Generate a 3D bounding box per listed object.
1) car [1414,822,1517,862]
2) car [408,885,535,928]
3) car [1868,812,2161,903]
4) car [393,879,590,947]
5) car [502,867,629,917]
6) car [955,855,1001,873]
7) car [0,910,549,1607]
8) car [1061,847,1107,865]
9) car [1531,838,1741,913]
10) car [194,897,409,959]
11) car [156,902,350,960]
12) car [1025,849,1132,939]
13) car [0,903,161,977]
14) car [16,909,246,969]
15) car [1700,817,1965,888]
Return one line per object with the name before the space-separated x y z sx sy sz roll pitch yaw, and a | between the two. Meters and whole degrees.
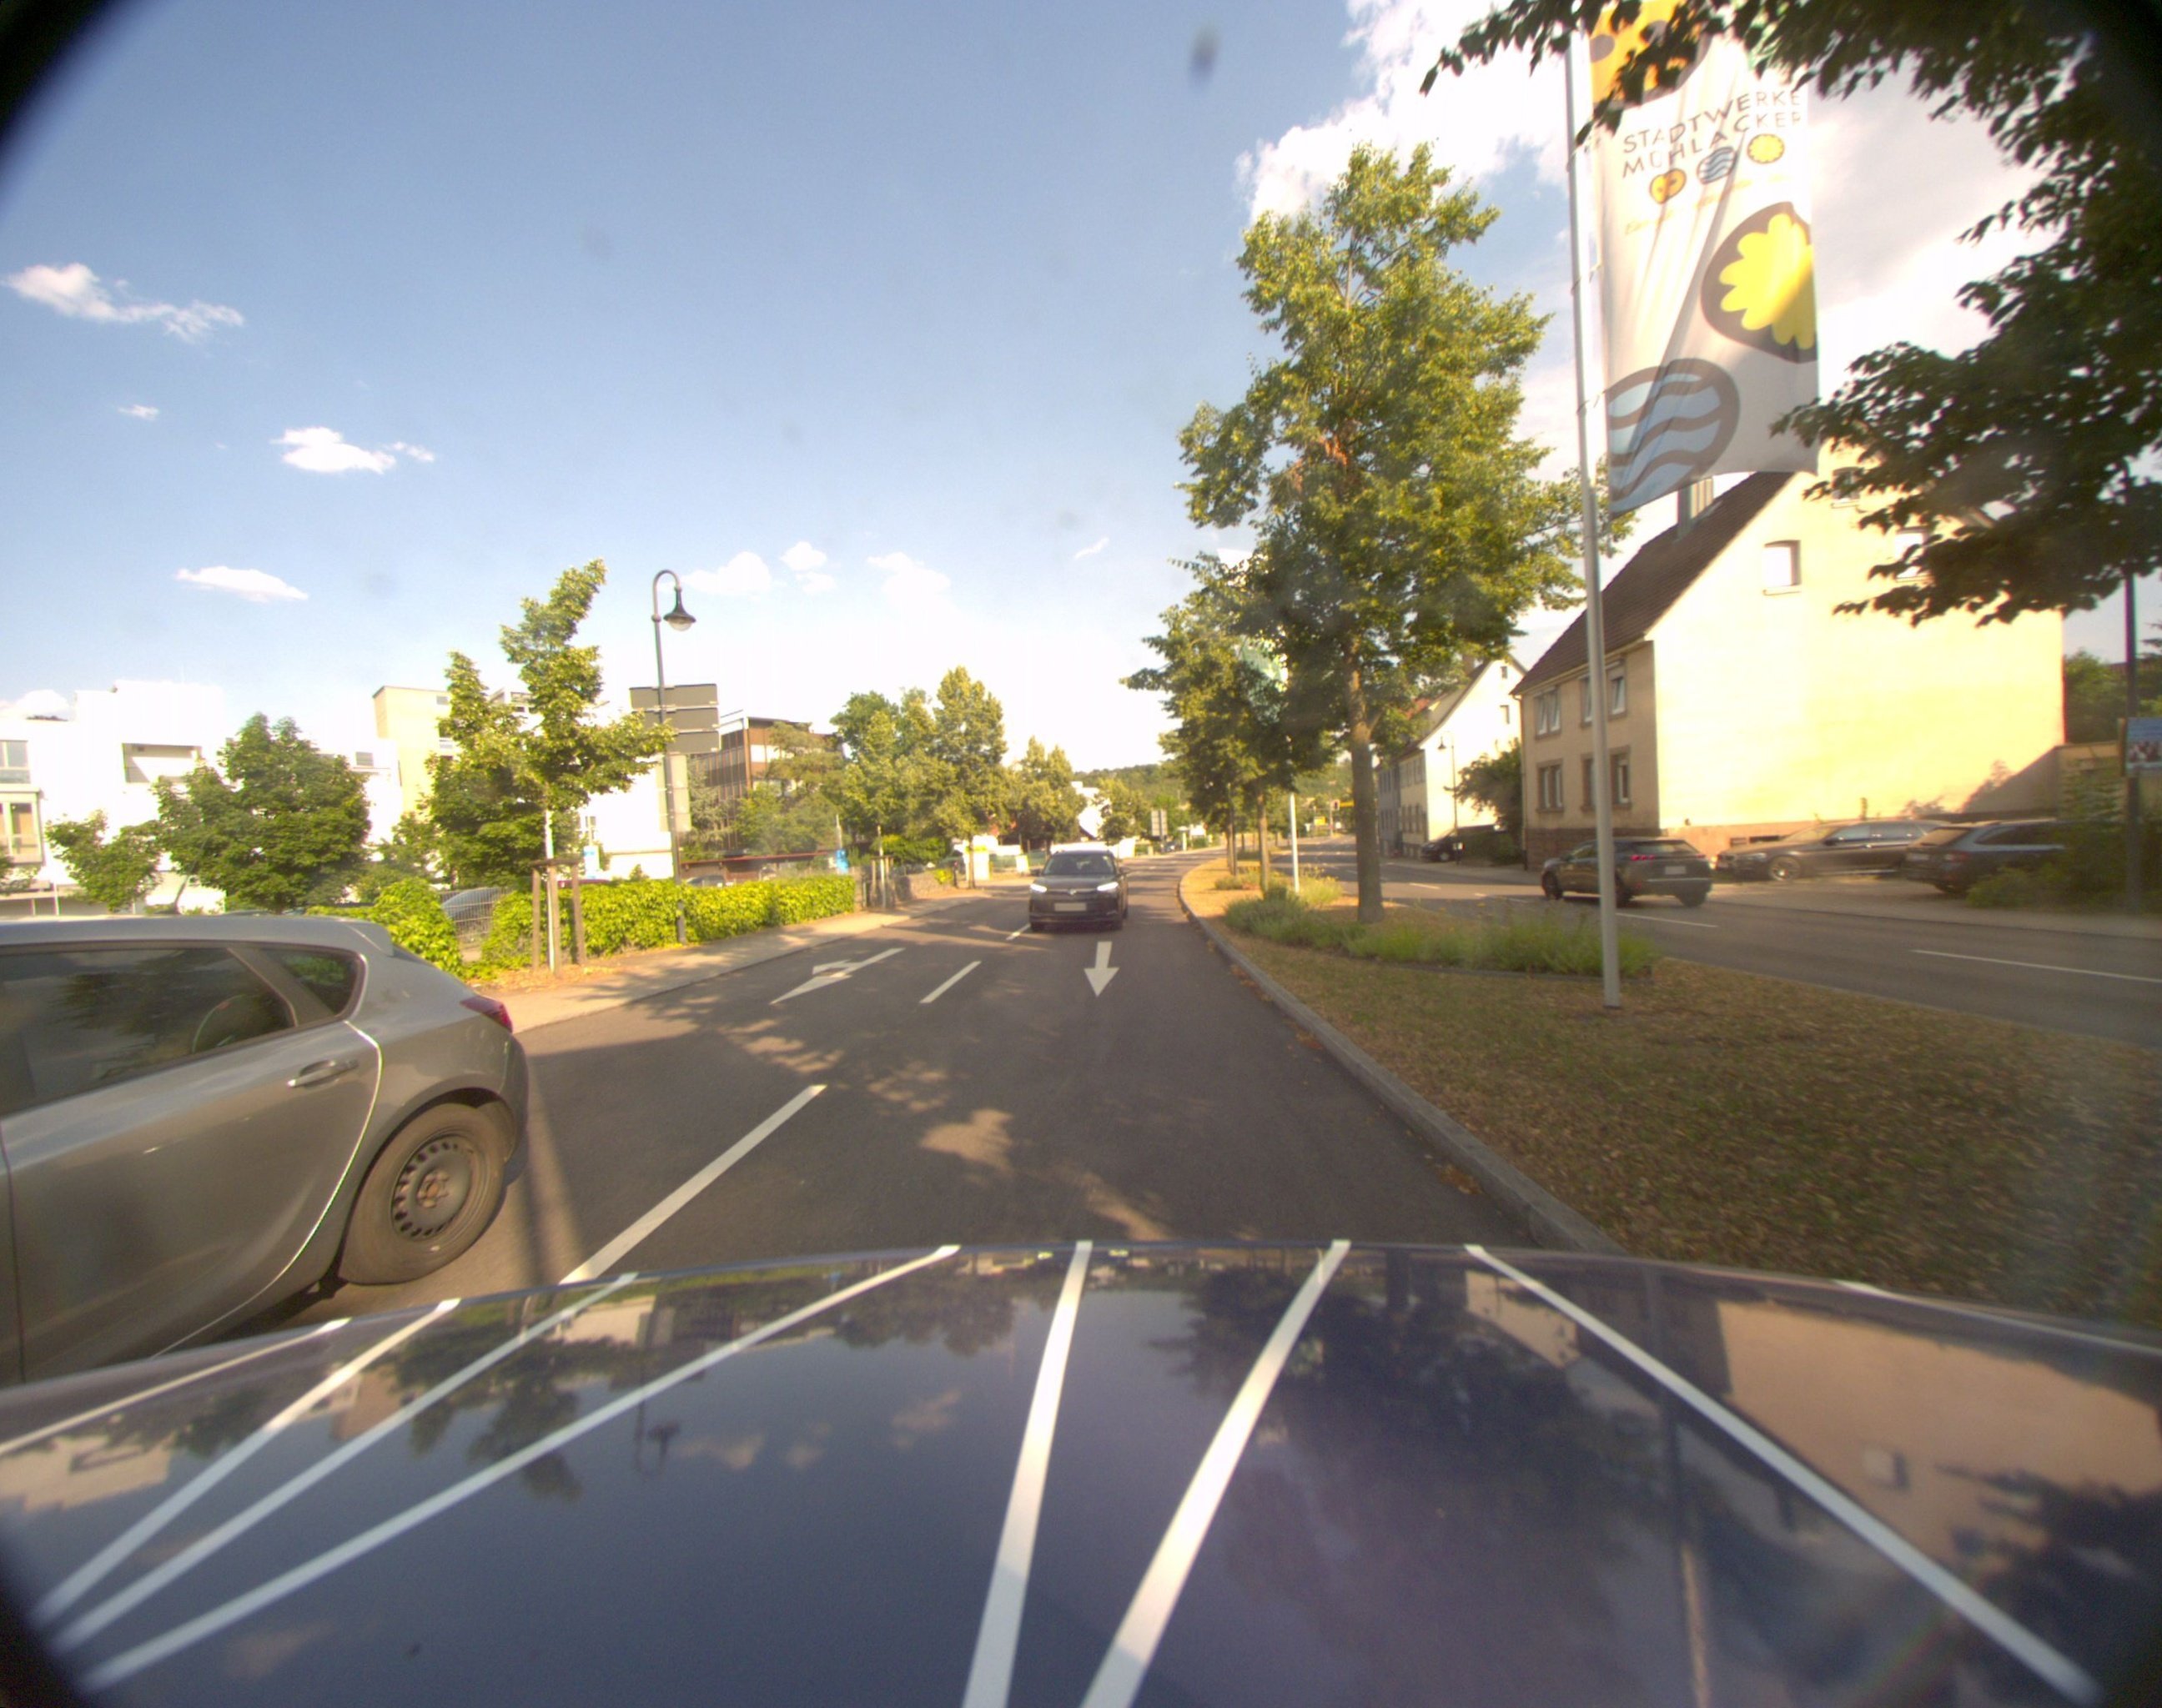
car | 21.770 -0.659 43.229 4.832 1.866 2.002 -4 0 14
car | -29.641 2.504 37.167 1.997 1.638 4.551 -3 1 10
car | 18.373 0.058 14.410 4.351 1.477 1.949 -3 0 20
car | -17.975 1.726 23.514 1.997 1.523 4.550 -5 0 10
car | -23.255 1.662 34.533 1.997 1.844 4.650 -3 1 10
car | -10.020 0.967 73.981 3.993 1.412 1.940 -3 1 15
car | -3.391 1.023 1.334 1.725 1.481 4.307 -2 0 2
car | 0.290 0.174 71.480 3.831 1.412 1.940 -3 1 15
car | 12.574 0.415 17.638 1.944 1.477 4.325 -2 1 4
car | -25.429 2.365 25.076 1.997 1.435 4.550 -3 1 10
car | -28.006 2.574 25.909 1.997 1.435 3.955 -3 1 10
car | 0.086 0.735 16.309 1.724 1.605 4.262 -2 1 7
car | -28.867 2.422 20.719 1.892 1.713 4.320 -5 0 15
car | -32.561 2.854 26.285 1.876 1.435 4.550 -3 1 10
car | 18.906 -0.031 19.405 4.352 1.477 2.014 -3 1 19
